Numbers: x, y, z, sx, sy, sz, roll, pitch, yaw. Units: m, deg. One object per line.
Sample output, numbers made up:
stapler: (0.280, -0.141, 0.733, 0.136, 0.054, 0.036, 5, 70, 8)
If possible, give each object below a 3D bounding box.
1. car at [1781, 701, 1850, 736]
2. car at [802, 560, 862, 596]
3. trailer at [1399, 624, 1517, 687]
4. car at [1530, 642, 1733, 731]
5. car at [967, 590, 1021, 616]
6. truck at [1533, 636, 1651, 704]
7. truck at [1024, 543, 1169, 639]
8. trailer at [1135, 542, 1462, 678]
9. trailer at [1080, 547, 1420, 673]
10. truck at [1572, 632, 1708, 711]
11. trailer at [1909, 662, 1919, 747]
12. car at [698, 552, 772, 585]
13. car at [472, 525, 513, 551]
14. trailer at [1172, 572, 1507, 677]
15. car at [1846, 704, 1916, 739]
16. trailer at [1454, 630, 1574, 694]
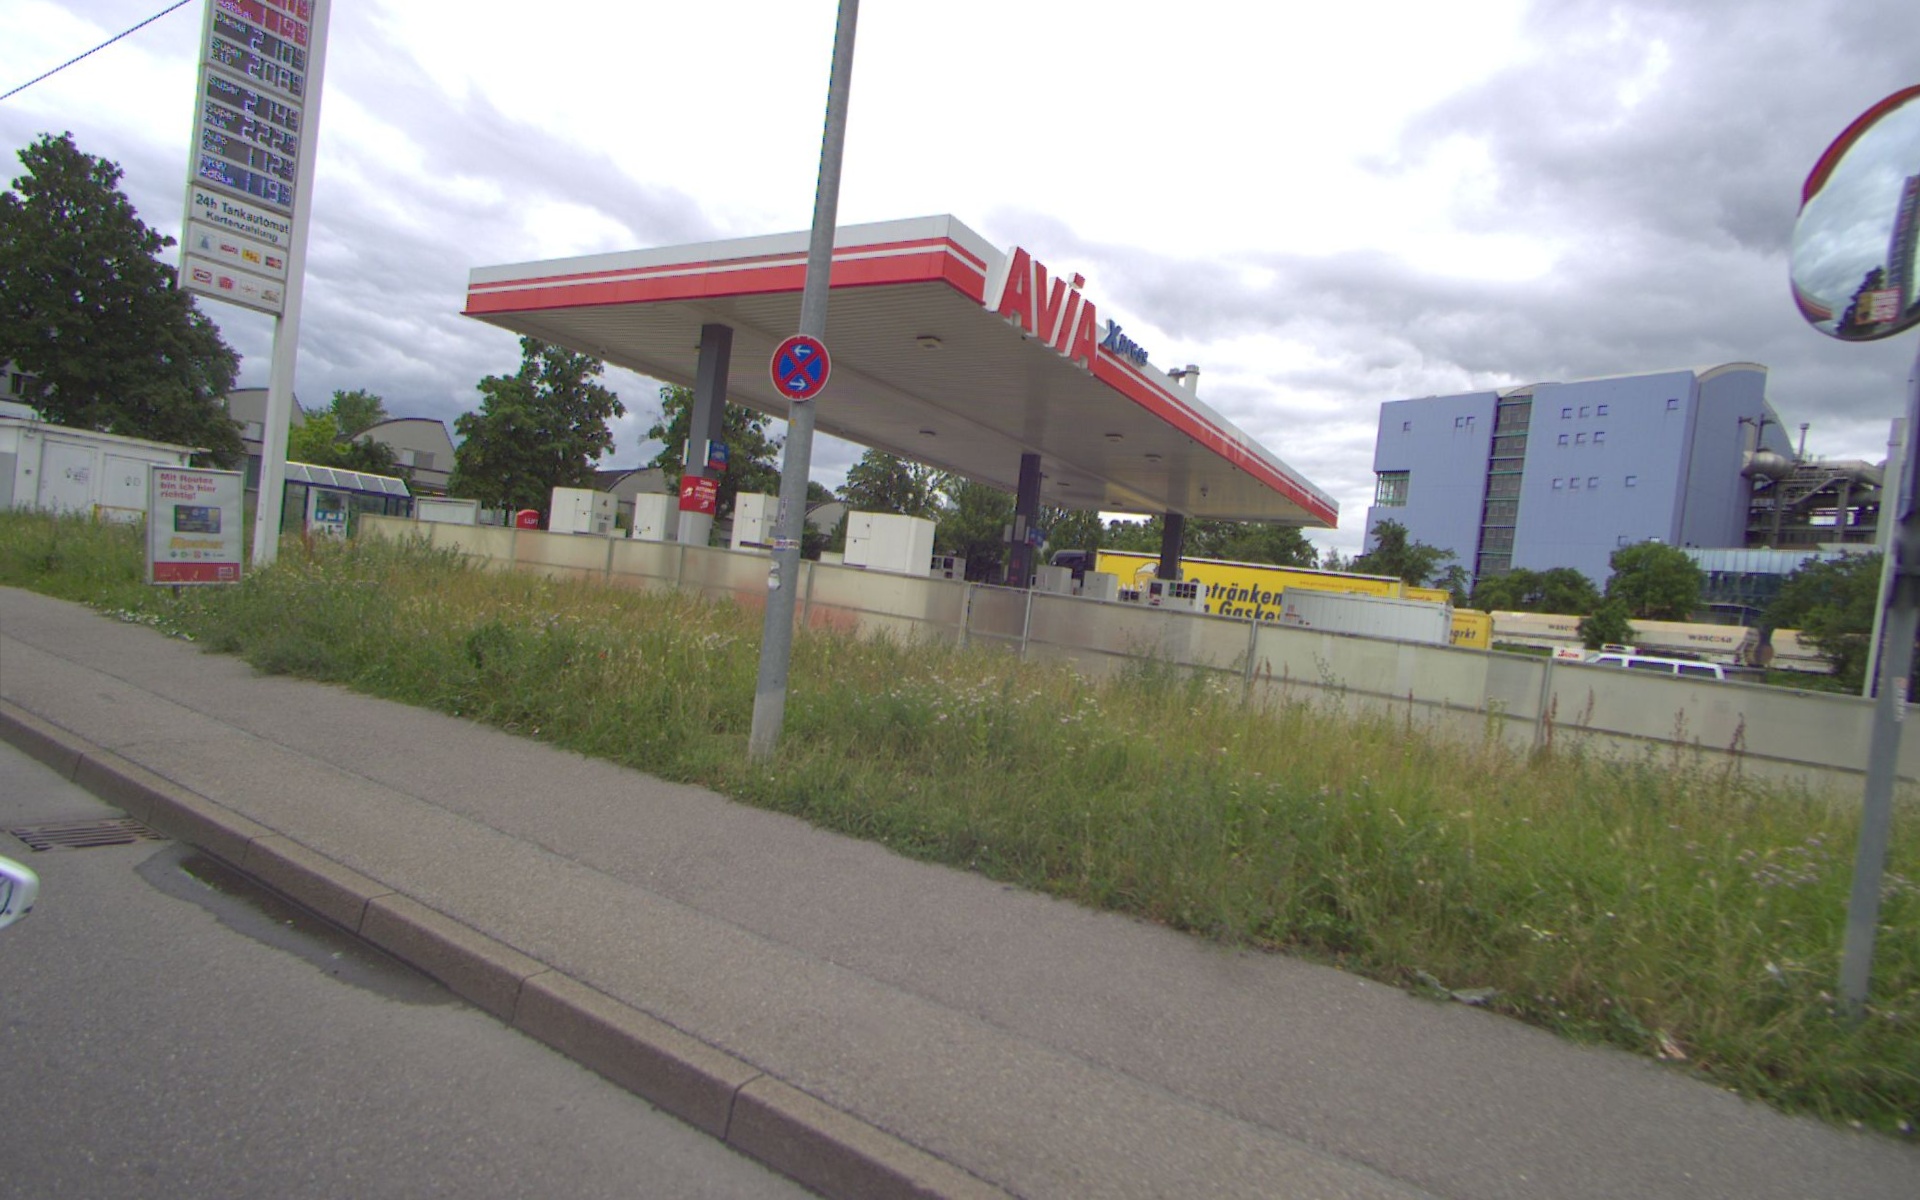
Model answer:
car: (51.417, 7.107, 60.426, 4.646, 1.621, 1.970, 7, 1, -36)
car: (-9.333, -1.592, 72.785, 2.082, 2.130, 4.854, 5, 1, -36)
trailer: (45.203, 5.094, 91.107, 12.457, 4.356, 3.527, 7, 0, -34)
car: (20.507, 2.590, 31.010, 4.869, 1.937, 1.985, 8, 1, 32)
car: (2.660, 0.216, 79.842, 1.876, 1.614, 4.324, 6, 1, -36)
truck: (51.104, 5.745, 81.187, 11.855, 4.344, 2.848, 7, 0, -32)
truck: (6.596, -0.449, 48.920, 5.940, 3.966, 2.959, 7, 2, 31)
trailer: (15.711, 0.314, 47.892, 14.063, 4.784, 3.001, 7, 2, 31)
trailer: (12.611, 0.298, 45.216, 14.063, 3.965, 3.001, 7, 2, 31)
truck: (46.909, 5.004, 69.211, 11.855, 4.344, 2.848, 7, 0, -32)
trailer: (60.133, 6.686, 58.060, 18.112, 4.556, 3.527, 7, 0, -34)
car: (-14.882, -2.080, 66.393, 4.576, 1.667, 1.963, 7, 1, 32)
car: (-35.739, -4.747, 76.918, 1.894, 1.541, 4.019, 5, 2, -38)
trailer: (21.543, 1.222, 58.618, 17.770, 3.966, 2.692, 7, 2, 31)
car: (54.290, 7.173, 59.279, 4.646, 1.621, 1.970, 7, 1, -36)
trailer: (48.323, 5.447, 87.534, 12.457, 4.356, 3.527, 7, 0, -34)
